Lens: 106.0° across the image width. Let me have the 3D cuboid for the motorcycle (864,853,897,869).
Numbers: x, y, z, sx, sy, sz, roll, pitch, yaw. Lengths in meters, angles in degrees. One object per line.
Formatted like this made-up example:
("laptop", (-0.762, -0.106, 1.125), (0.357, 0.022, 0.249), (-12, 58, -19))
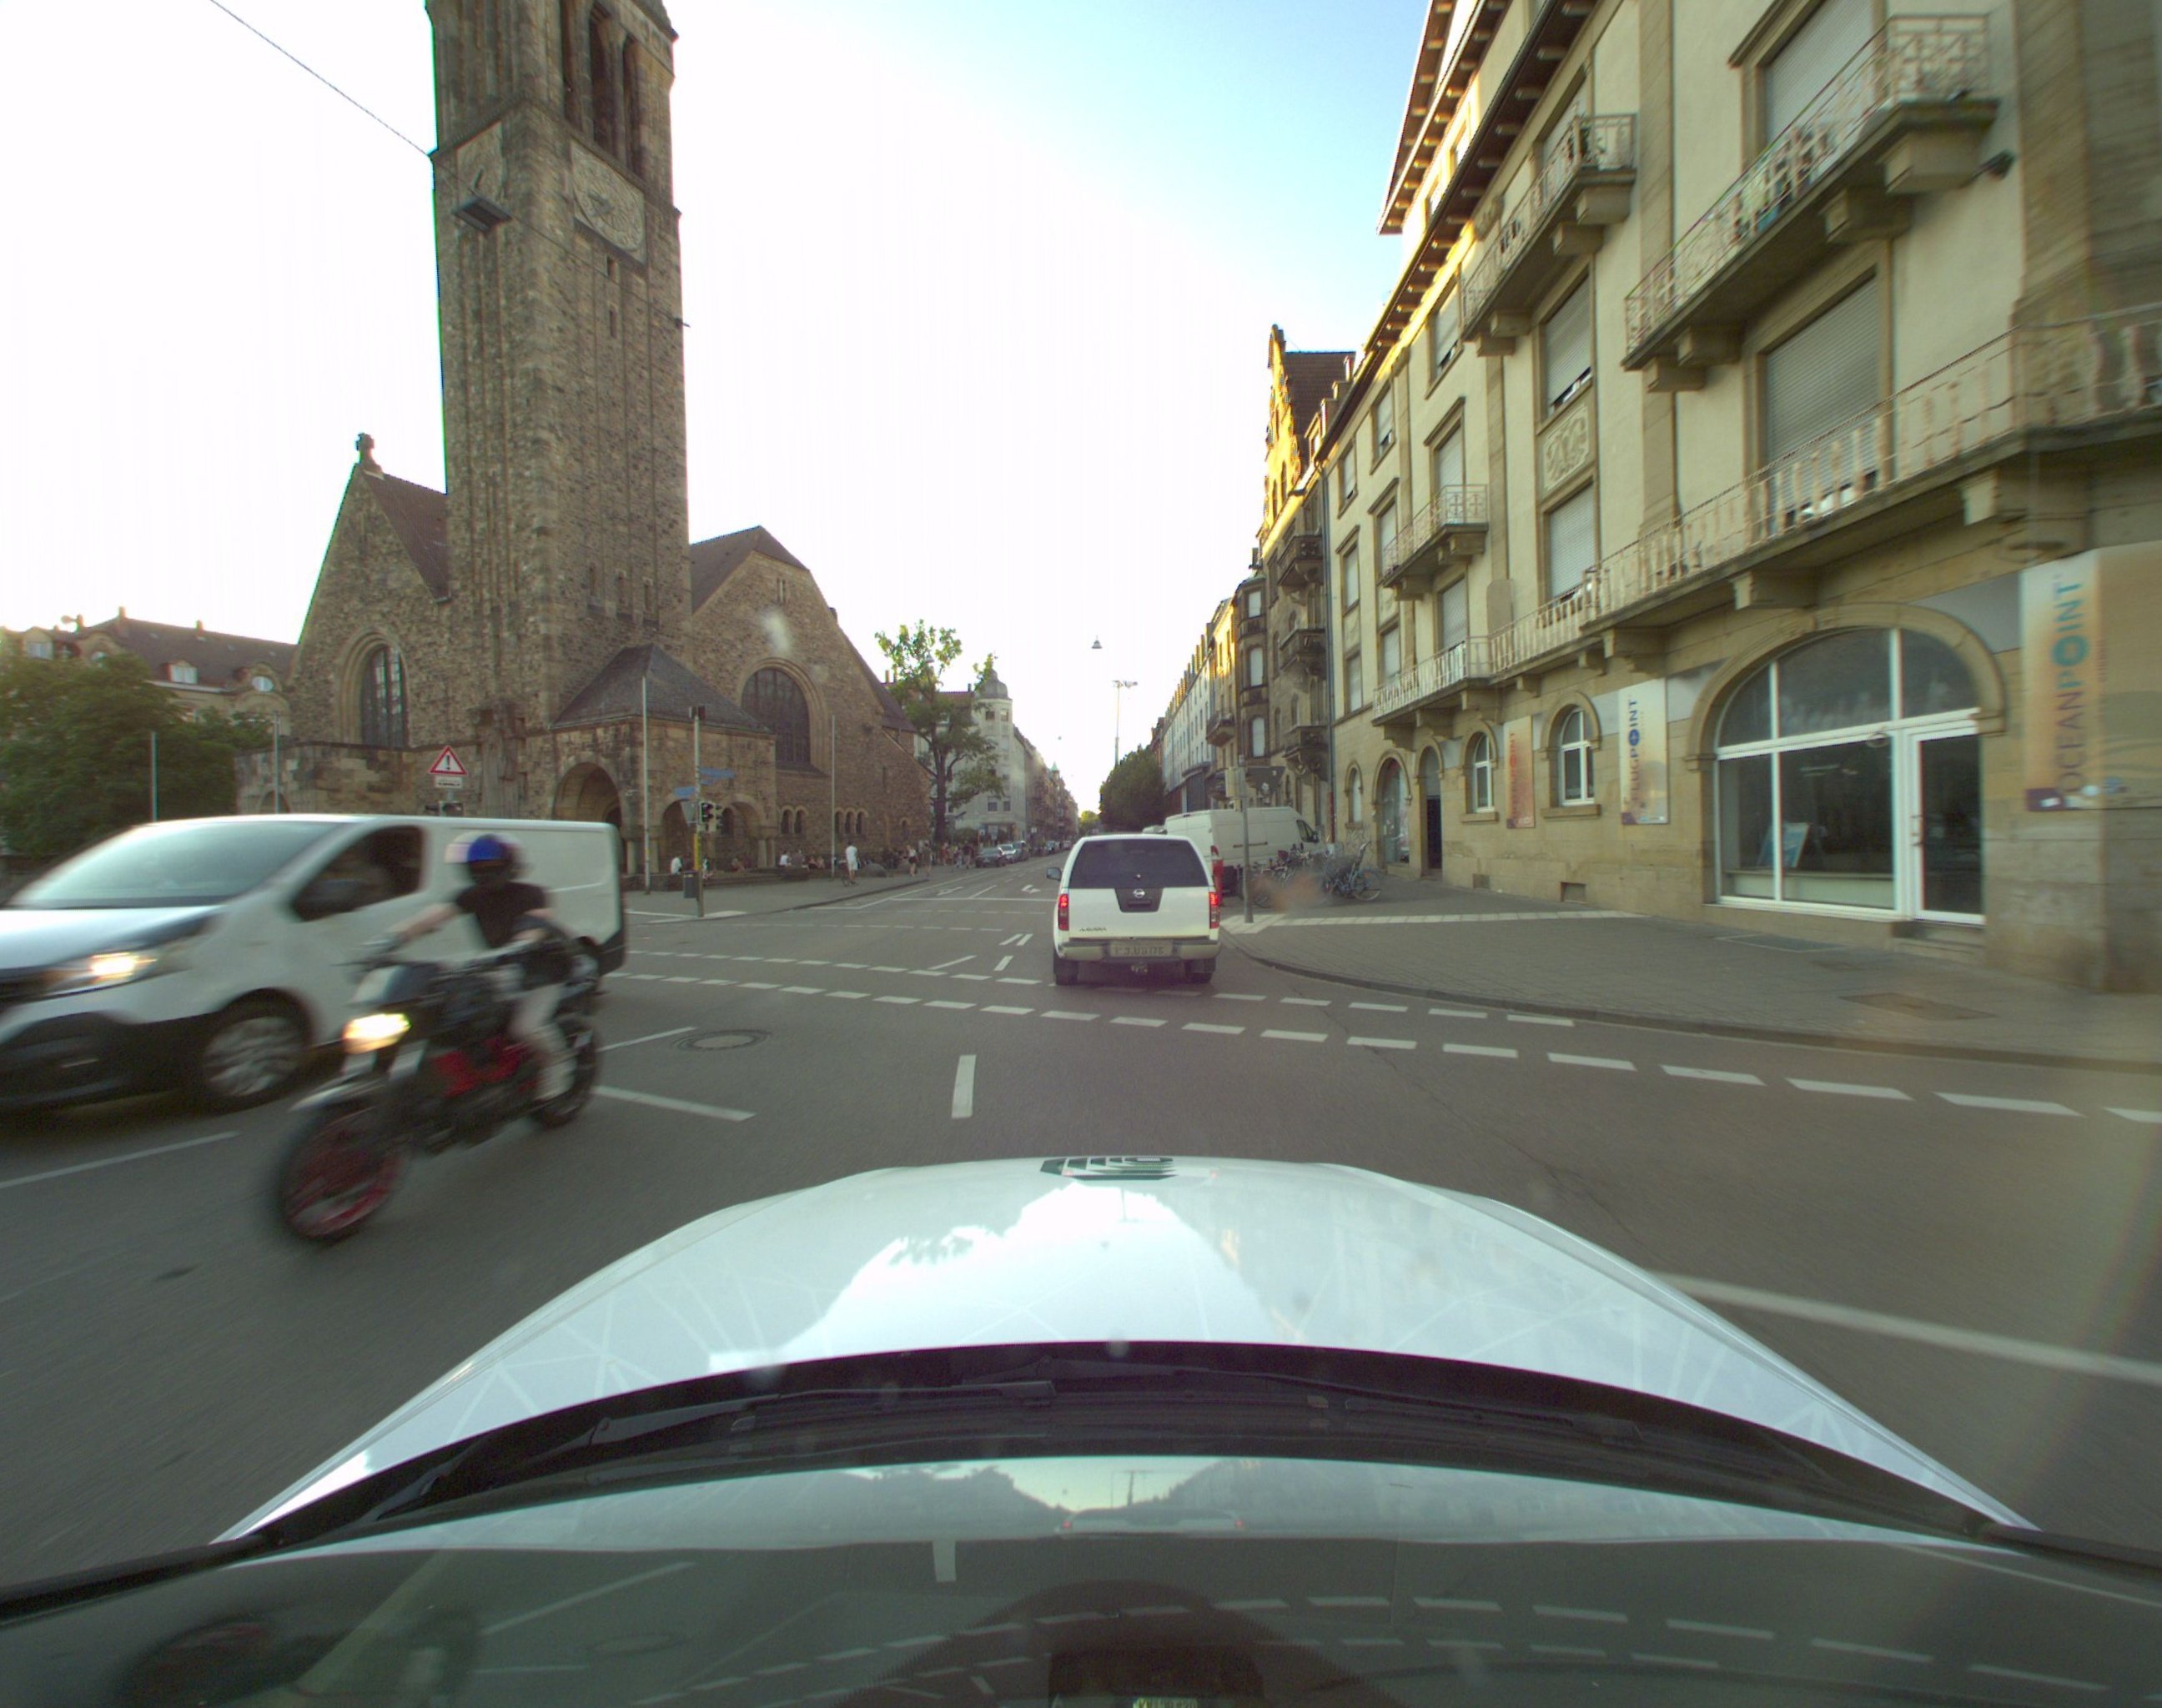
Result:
("motorcycle", (-13.005, 0.454, 52.814), (2.146, 0.987, 0.597), (-1, 0, 22))

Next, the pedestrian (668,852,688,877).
("pedestrian", (-15.753, 0.394, 31.854), (0.517, 0.960, 0.482), (-1, 0, 22))

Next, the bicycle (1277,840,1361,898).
("bicycle", (5.761, 0.365, 19.783), (1.811, 1.238, 0.478), (-5, 0, 0))

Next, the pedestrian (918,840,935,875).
("pedestrian", (-8.591, 0.180, 45.360), (0.809, 1.900, 0.666), (-1, 0, 1))

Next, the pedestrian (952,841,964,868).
("pedestrian", (-8.478, 0.008, 56.264), (0.646, 1.855, 0.557), (-1, 0, -26))

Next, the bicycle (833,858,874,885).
("bicycle", (-9.664, 0.735, 34.629), (0.652, 1.078, 2.253), (-1, 0, 13))

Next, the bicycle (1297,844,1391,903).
("bicycle", (5.838, 0.419, 18.125), (1.811, 1.149, 0.636), (-5, 0, 0))

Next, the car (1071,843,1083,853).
("car", (-0.640, -1.028, 132.943), (1.851, 1.529, 4.002), (-1, 1, 2))

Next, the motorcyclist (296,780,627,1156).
("motorcyclist", (-2.997, 0.499, 4.065), (0.871, 1.644, 0.963), (-1, 0, 1))

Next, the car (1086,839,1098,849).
("car", (1.858, -1.657, 132.824), (1.851, 1.529, 4.002), (-1, 1, 2))

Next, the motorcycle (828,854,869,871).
("motorcycle", (-14.198, 0.501, 49.773), (2.239, 0.987, 0.707), (-1, 0, -3))

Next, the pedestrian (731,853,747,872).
("pedestrian", (-17.611, 0.423, 41.904), (0.550, 0.960, 0.709), (-1, 0, -4))

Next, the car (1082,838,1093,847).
("car", (1.183, -2.021, 143.177), (1.914, 1.529, 4.000), (-1, 1, 0))

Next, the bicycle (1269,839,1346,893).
("bicycle", (5.858, 0.316, 21.112), (1.811, 1.238, 0.410), (-5, 0, 0))

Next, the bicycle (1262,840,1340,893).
("bicycle", (5.843, 0.314, 21.644), (1.849, 1.238, 0.531), (-5, 0, 0))

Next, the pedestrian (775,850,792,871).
("pedestrian", (-13.587, 0.311, 37.202), (0.517, 0.960, 0.482), (-1, 0, 20))

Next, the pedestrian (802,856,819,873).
("pedestrian", (-14.929, 0.578, 44.944), (0.547, 0.960, 0.713), (-1, 0, 23))

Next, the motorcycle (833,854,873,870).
("motorcycle", (-14.144, 0.492, 50.571), (2.239, 0.987, 0.707), (-1, 0, -3))

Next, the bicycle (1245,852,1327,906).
("bicycle", (4.678, 0.558, 18.643), (1.721, 1.083, 0.317), (-5, 0, 0))

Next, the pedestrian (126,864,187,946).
("pedestrian", (-19.714, 1.073, 17.378), (0.629, 1.698, 0.605), (-1, 0, 11))

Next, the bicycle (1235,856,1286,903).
("bicycle", (4.304, 0.599, 19.545), (1.073, 1.024, 0.317), (-5, 0, 0))

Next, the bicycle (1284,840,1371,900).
("bicycle", (5.762, 0.367, 19.070), (1.811, 1.238, 0.488), (-5, 0, 0))

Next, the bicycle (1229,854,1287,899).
("bicycle", (4.512, 0.569, 20.797), (1.328, 1.024, 0.317), (-5, 0, 0))

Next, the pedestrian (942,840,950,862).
("pedestrian", (-10.491, -0.234, 63.372), (0.559, 1.695, 0.644), (-1, 0, -5))

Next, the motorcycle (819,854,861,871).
("motorcycle", (-14.345, 0.515, 48.549), (2.239, 0.987, 0.707), (-1, 0, -3))

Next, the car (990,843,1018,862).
("car", (-6.418, -0.110, 68.312), (1.851, 1.529, 4.002), (-1, 1, 2))

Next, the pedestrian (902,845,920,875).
("pedestrian", (-9.442, 0.327, 45.312), (0.809, 1.669, 0.860), (-1, 0, 1))

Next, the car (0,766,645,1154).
("car", (-6.047, 0.559, 6.756), (1.986, 2.013, 4.953), (-2, 0, 2))

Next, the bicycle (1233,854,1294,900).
("bicycle", (4.532, 0.573, 20.248), (1.367, 1.024, 0.317), (-5, 0, 0))

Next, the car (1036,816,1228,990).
("car", (0.632, 0.498, 10.518), (1.985, 1.809, 4.003), (-1, 1, 3))

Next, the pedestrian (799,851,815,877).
("pedestrian", (-13.137, 0.469, 39.015), (0.474, 1.245, 0.526), (-1, 0, 20))

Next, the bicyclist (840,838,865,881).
("bicyclist", (-9.695, 0.225, 34.600), (0.652, 1.827, 0.862), (-1, 0, 11))

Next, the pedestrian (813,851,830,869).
("pedestrian", (-14.521, 0.342, 45.635), (0.547, 0.960, 0.713), (-1, 0, 23))

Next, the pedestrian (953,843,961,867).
("pedestrian", (-9.604, 0.045, 63.049), (0.559, 1.855, 0.644), (-1, 0, -5))

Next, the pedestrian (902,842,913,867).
("pedestrian", (-12.040, 0.018, 56.587), (0.640, 1.695, 0.562), (-1, 0, 2))

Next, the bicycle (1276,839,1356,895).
("bicycle", (5.899, 0.322, 20.504), (1.811, 1.238, 0.412), (-5, 0, 0))

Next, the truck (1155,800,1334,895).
("truck", (5.086, -0.234, 24.724), (5.703, 2.564, 2.261), (-2, 1, -41))

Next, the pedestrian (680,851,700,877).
("pedestrian", (-15.148, 0.388, 31.551), (0.517, 0.960, 0.482), (-1, 0, 22))

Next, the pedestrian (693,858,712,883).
("pedestrian", (-15.207, 0.653, 32.729), (0.473, 0.960, 0.526), (-1, 0, 32))

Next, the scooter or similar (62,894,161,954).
("scooter or similar", (-19.396, 1.376, 16.313), (0.629, 1.103, 1.082), (-1, 0, 14))

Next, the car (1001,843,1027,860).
("car", (-6.153, -0.248, 74.892), (1.851, 1.529, 4.002), (-1, 1, 2))

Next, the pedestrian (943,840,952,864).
("pedestrian", (-10.284, -0.146, 62.523), (0.643, 1.855, 0.560), (-1, 0, -12))

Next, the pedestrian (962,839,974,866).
("pedestrian", (-7.831, -0.122, 56.543), (0.646, 1.855, 0.557), (-1, 0, -26))

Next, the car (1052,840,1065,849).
("car", (-3.885, -1.653, 141.025), (1.851, 1.529, 4.002), (-1, 1, 2))

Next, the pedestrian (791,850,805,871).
("pedestrian", (-12.902, 0.302, 37.100), (0.522, 0.960, 0.477), (-1, 0, -13))

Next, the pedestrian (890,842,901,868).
("pedestrian", (-12.377, 0.085, 54.297), (0.642, 1.695, 0.561), (-1, 0, -6))

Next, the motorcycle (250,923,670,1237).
("motorcycle", (-2.930, 0.972, 4.172), (0.597, 1.043, 1.946), (-1, 0, 2))

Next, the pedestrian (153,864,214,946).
("pedestrian", (-18.999, 1.064, 17.248), (0.629, 1.698, 0.605), (-1, 0, 14))

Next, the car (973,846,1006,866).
("car", (-6.718, 0.123, 60.117), (1.851, 1.398, 4.002), (-1, 1, 2))
